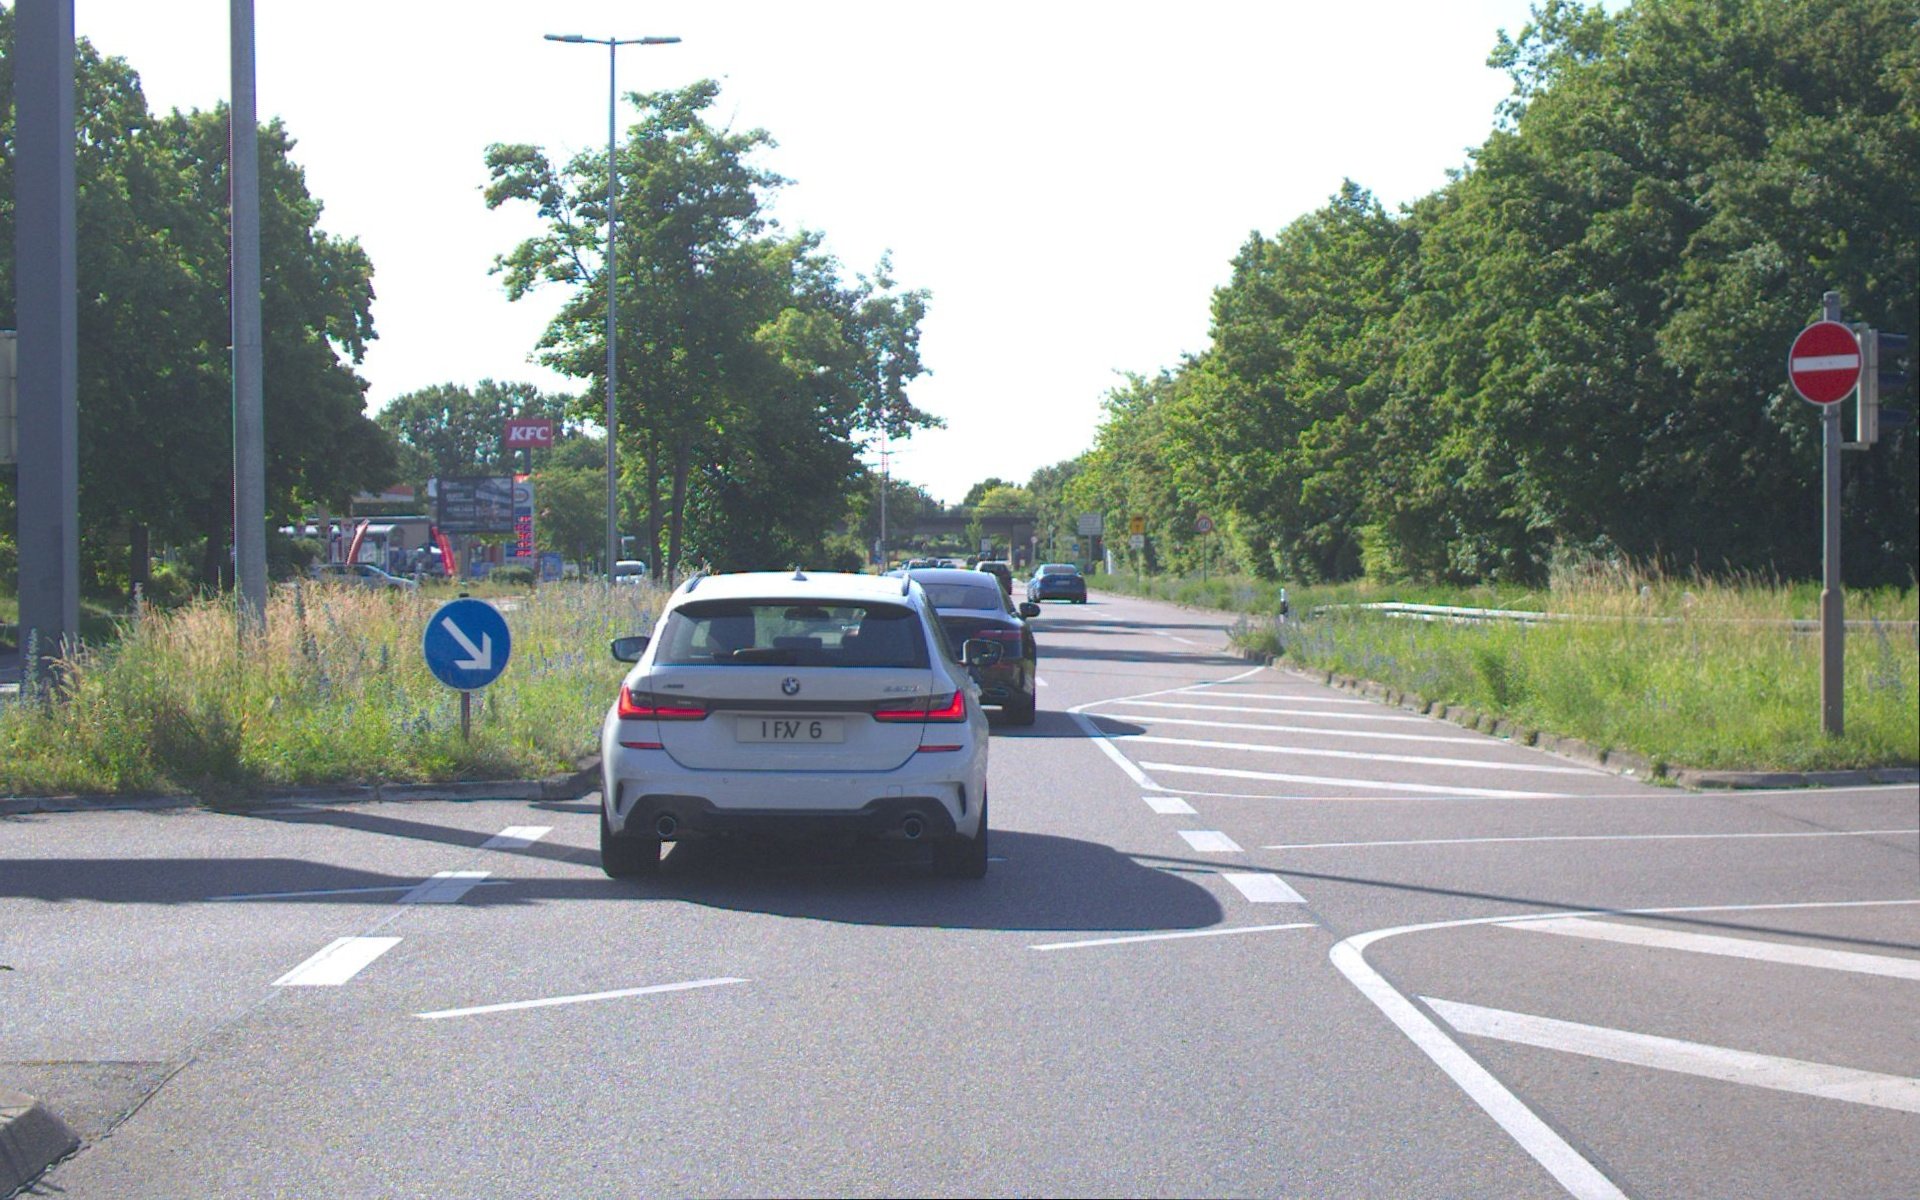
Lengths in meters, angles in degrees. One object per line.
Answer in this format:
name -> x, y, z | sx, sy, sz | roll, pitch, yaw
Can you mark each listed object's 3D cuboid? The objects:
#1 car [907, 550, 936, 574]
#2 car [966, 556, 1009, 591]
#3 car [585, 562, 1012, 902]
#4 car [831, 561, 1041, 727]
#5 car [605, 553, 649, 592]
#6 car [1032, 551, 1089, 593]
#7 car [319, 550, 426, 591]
car -> -2.578, -2.538, 229.930 | 1.861, 1.560, 4.548 | 0, 1, -1
car -> 1.246, -1.204, 155.940 | 1.771, 1.550, 3.833 | -1, 1, -2
car -> -0.728, 0.556, 17.440 | 1.861, 1.450, 4.548 | 1, 1, 0
car -> -0.255, 0.365, 33.043 | 1.861, 1.450, 4.548 | -1, 1, -1
car -> -15.003, -1.261, 155.048 | 1.706, 1.740, 4.166 | 0, 1, -2
car -> 3.620, -1.008, 124.168 | 1.861, 1.494, 4.337 | 0, 1, -1
car -> -24.832, -1.254, 145.397 | 4.110, 1.656, 1.893 | -1, 1, 2
